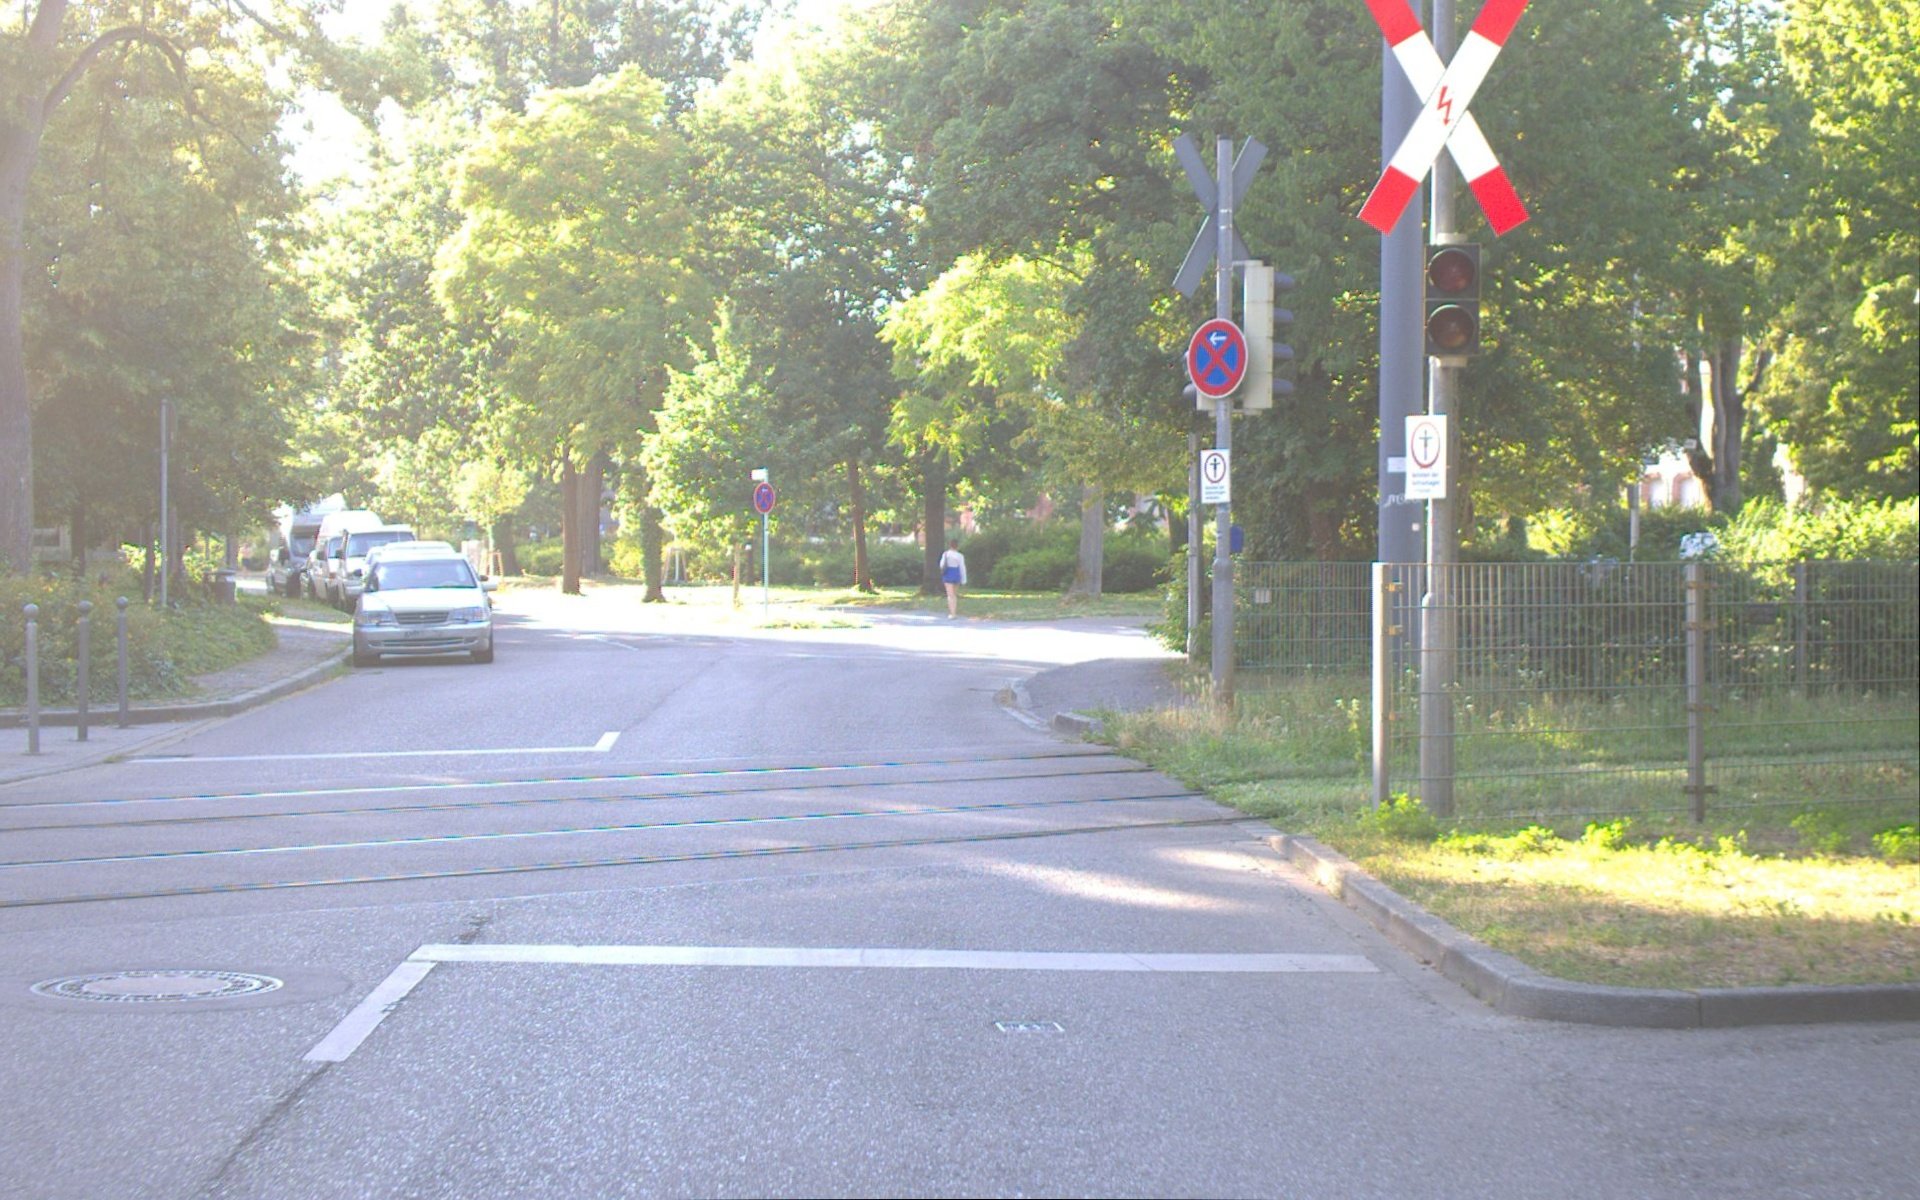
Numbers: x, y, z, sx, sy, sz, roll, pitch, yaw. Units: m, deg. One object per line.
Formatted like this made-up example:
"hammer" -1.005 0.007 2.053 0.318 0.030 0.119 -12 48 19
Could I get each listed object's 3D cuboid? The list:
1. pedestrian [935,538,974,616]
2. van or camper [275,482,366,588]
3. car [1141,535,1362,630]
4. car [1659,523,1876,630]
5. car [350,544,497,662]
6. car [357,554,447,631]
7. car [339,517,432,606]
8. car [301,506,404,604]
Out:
"pedestrian" -0.113 -0.475 70.372 0.773 1.569 0.768 0 1 -2
"van or camper" -18.224 -1.860 97.823 2.089 2.898 6.334 0 1 -14
"car" 5.542 -0.347 64.987 1.806 1.670 4.309 4 3 44
"car" 15.893 -0.475 67.494 1.957 2.007 5.141 1 1 41
"car" -7.000 0.000 45.178 1.779 1.411 4.499 -2 1 -8
"car" -11.399 -0.165 70.103 1.615 1.496 3.698 0 1 -12
"car" -13.113 -0.892 78.299 1.850 1.939 4.842 0 1 -12
"car" -15.105 -1.124 85.350 1.850 2.347 5.188 0 1 -17
